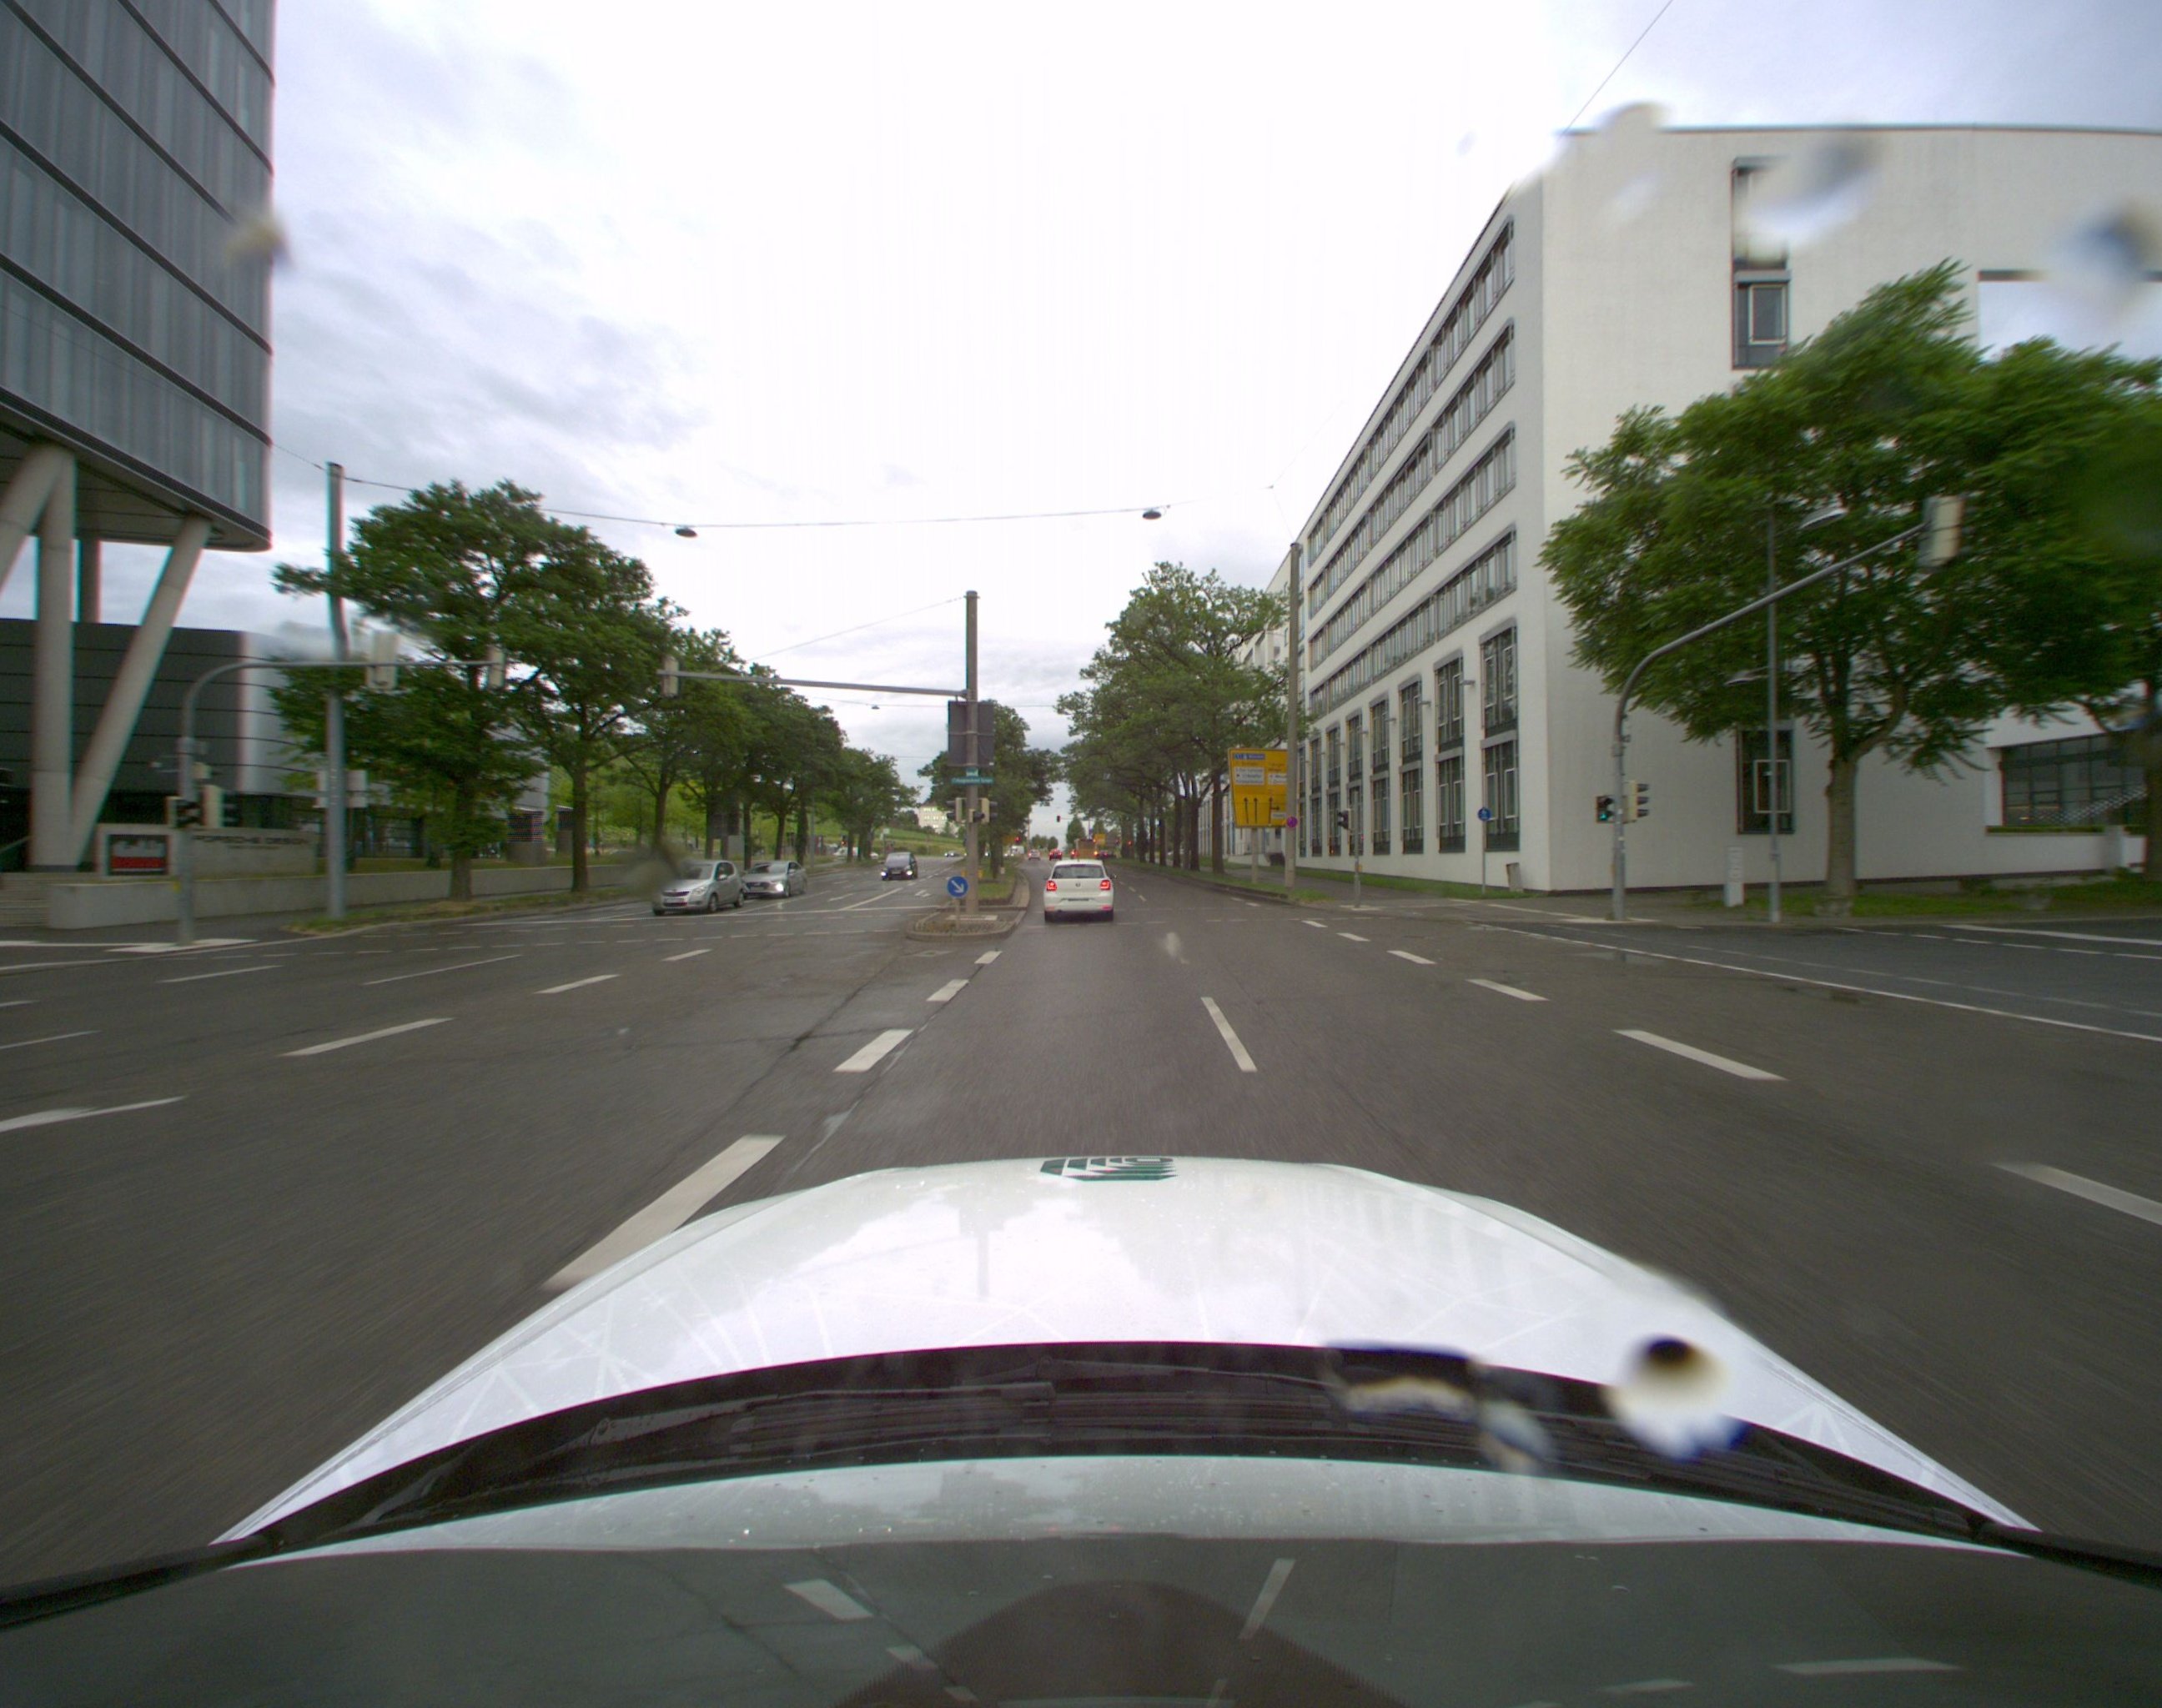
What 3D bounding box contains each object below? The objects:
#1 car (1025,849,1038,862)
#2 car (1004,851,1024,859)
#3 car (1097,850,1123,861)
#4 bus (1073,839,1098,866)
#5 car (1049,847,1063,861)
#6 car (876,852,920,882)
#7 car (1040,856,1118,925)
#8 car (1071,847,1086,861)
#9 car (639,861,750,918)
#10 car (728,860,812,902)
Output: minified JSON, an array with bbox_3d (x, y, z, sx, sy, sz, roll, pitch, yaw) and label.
[{"bbox_3d":[-7.192,0.248,118.638,1.790,1.741,3.995,-1,0,-3],"label":"car"},{"bbox_3d":[-16.255,0.234,197.817,1.975,2.013,5.743,-1,0,25],"label":"car"},{"bbox_3d":[4.159,0.191,117.220,1.679,1.515,3.850,-2,-1,43],"label":"car"},{"bbox_3d":[0.516,-0.174,104.757,2.821,3.267,9.992,0,0,-2],"label":"bus"},{"bbox_3d":[-3.556,0.048,117.241,1.988,2.014,3.996,-1,-1,-2],"label":"car"},{"bbox_3d":[-11.102,0.739,49.730,1.991,1.616,5.110,-2,1,-6],"label":"car"},{"bbox_3d":[-0.073,0.845,20.642,1.789,1.502,3.998,1,0,-1],"label":"car"},{"bbox_3d":[-0.408,0.024,117.880,1.988,2.014,3.996,-1,-1,-2],"label":"car"},{"bbox_3d":[-11.539,1.006,24.580,1.747,1.520,3.810,-1,0,-5],"label":"car"},{"bbox_3d":[-12.128,0.999,32.104,1.811,1.411,4.647,-2,0,-5],"label":"car"}]
